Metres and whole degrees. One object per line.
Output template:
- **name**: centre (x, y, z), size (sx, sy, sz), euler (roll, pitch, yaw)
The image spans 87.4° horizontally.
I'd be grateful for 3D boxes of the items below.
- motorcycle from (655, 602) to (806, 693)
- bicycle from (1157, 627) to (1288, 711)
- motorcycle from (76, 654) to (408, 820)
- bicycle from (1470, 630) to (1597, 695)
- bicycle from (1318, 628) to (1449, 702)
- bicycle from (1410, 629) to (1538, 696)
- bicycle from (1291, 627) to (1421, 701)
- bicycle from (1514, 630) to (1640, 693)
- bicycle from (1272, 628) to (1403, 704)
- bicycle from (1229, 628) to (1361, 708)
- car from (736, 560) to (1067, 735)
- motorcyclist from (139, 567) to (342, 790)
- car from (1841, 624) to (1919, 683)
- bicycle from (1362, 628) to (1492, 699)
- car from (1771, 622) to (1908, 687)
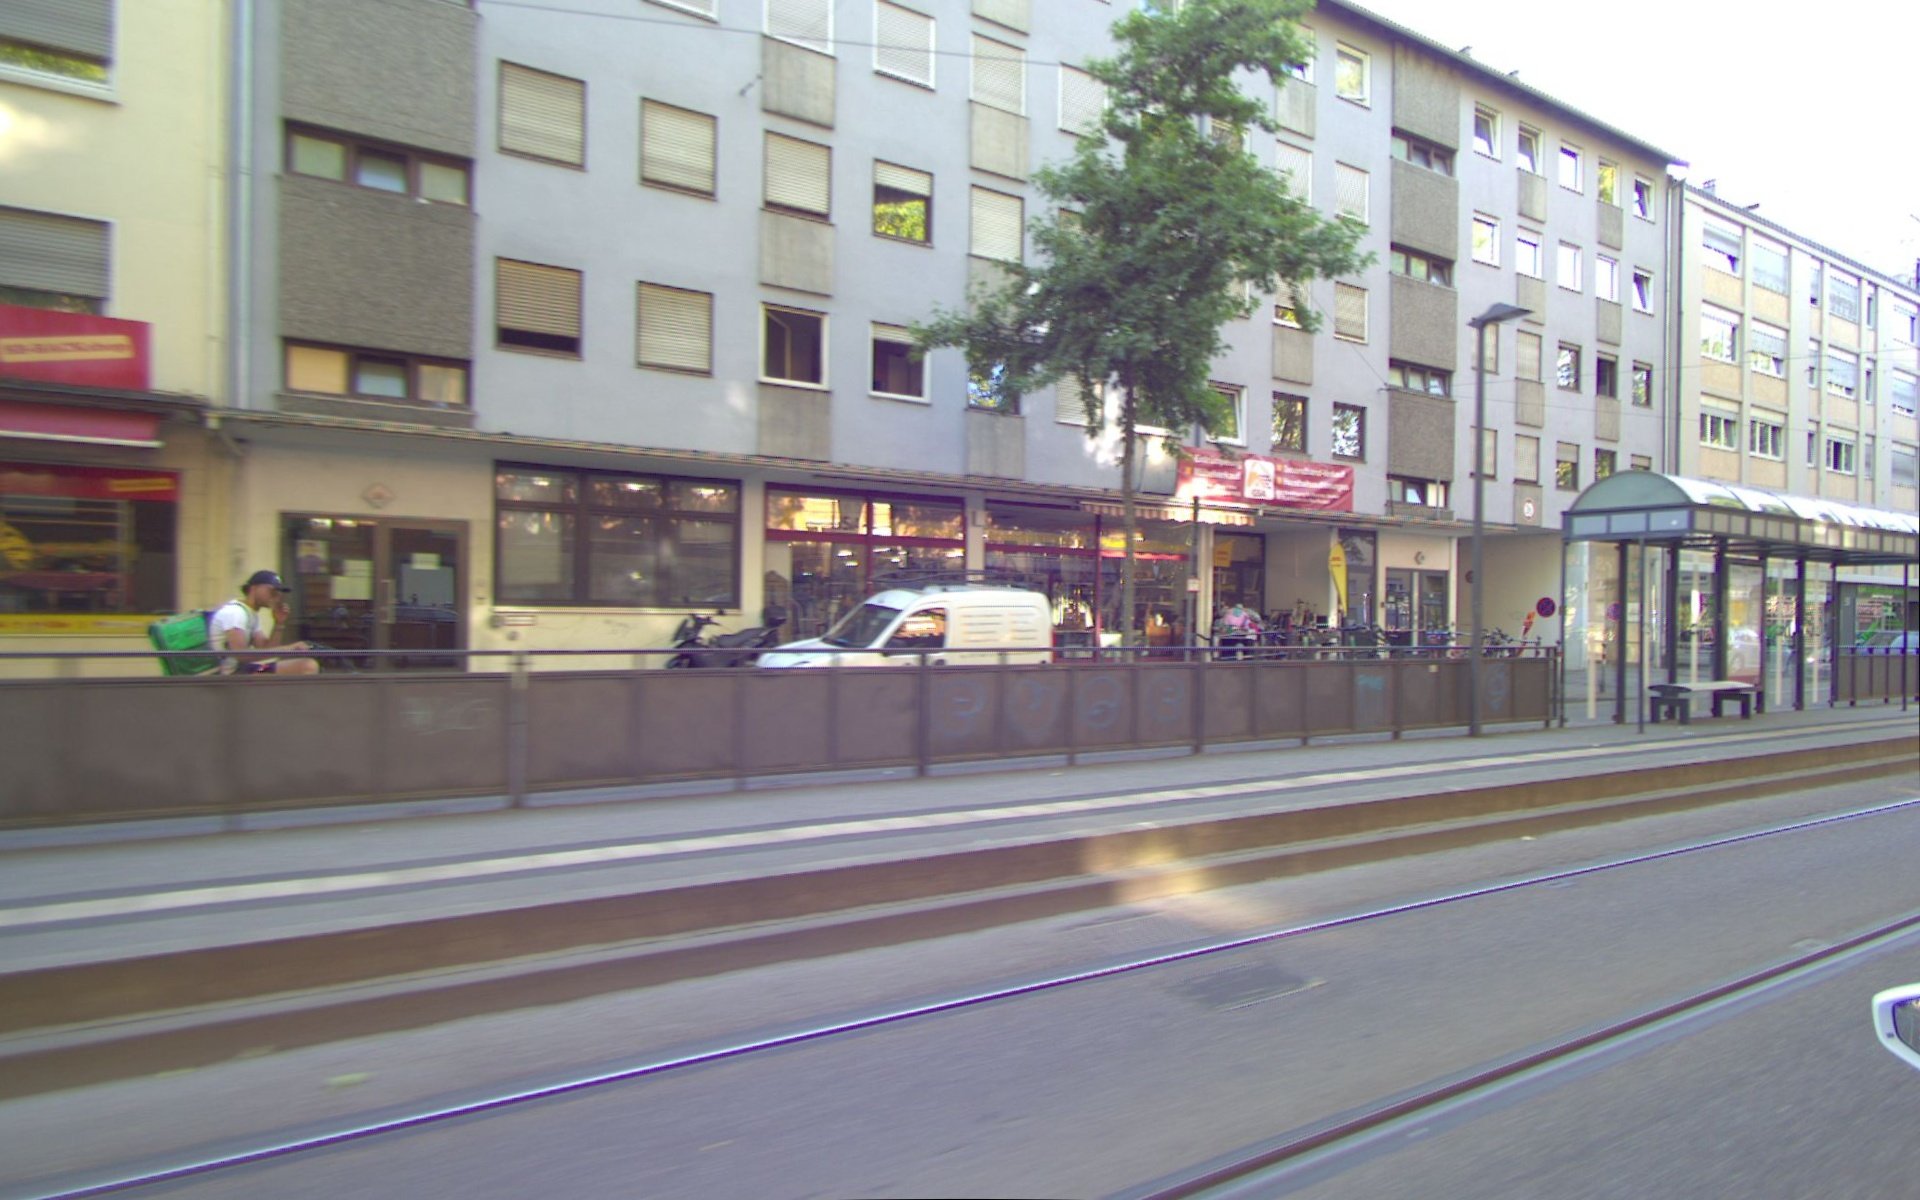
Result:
- **motorcycle**: centre (-3.521, 0.722, 15.520), size (2.196, 1.328, 0.596), euler (1, -1, -31)
- **bicycle**: centre (4.145, 1.053, 16.069), size (0.628, 1.088, 2.243), euler (1, 2, -28)
- **motorcycle**: centre (-5.013, 0.917, 7.186), size (1.855, 1.046, 0.592), euler (1, -3, -30)
- **bicycle**: centre (11.709, 1.245, 20.601), size (0.628, 1.088, 2.243), euler (1, 2, -28)
- **bicycle**: centre (7.597, 1.130, 18.158), size (0.628, 1.088, 2.243), euler (1, 2, -28)
- **bicycle**: centre (10.084, 1.193, 19.803), size (0.628, 1.088, 2.243), euler (1, 2, -28)
- **bicycle**: centre (7.016, 1.099, 17.917), size (0.628, 1.088, 2.243), euler (1, 2, -28)
- **bicycle**: centre (13.136, 1.280, 21.460), size (0.628, 1.088, 2.243), euler (1, 2, -28)
- **bicycle**: centre (6.542, 1.112, 17.556), size (0.628, 1.088, 2.243), euler (1, 2, -28)
- **bicycle**: centre (5.566, 1.099, 16.862), size (0.628, 1.088, 2.243), euler (1, 2, -28)
- **car**: centre (-0.709, 0.575, 12.978), size (3.953, 1.966, 1.680), euler (1, -1, -31)
- **motorcyclist**: centre (-5.082, 0.539, 7.171), size (1.091, 1.468, 0.592), euler (1, -3, -30)
- **car**: centre (27.897, 1.535, 29.701), size (3.953, 1.569, 1.585), euler (1, 1, -31)
- **bicycle**: centre (8.674, 1.156, 18.788), size (0.628, 1.088, 2.243), euler (1, 2, -28)
- **car**: centre (23.826, 1.438, 27.185), size (3.953, 1.569, 1.585), euler (1, 1, -31)
